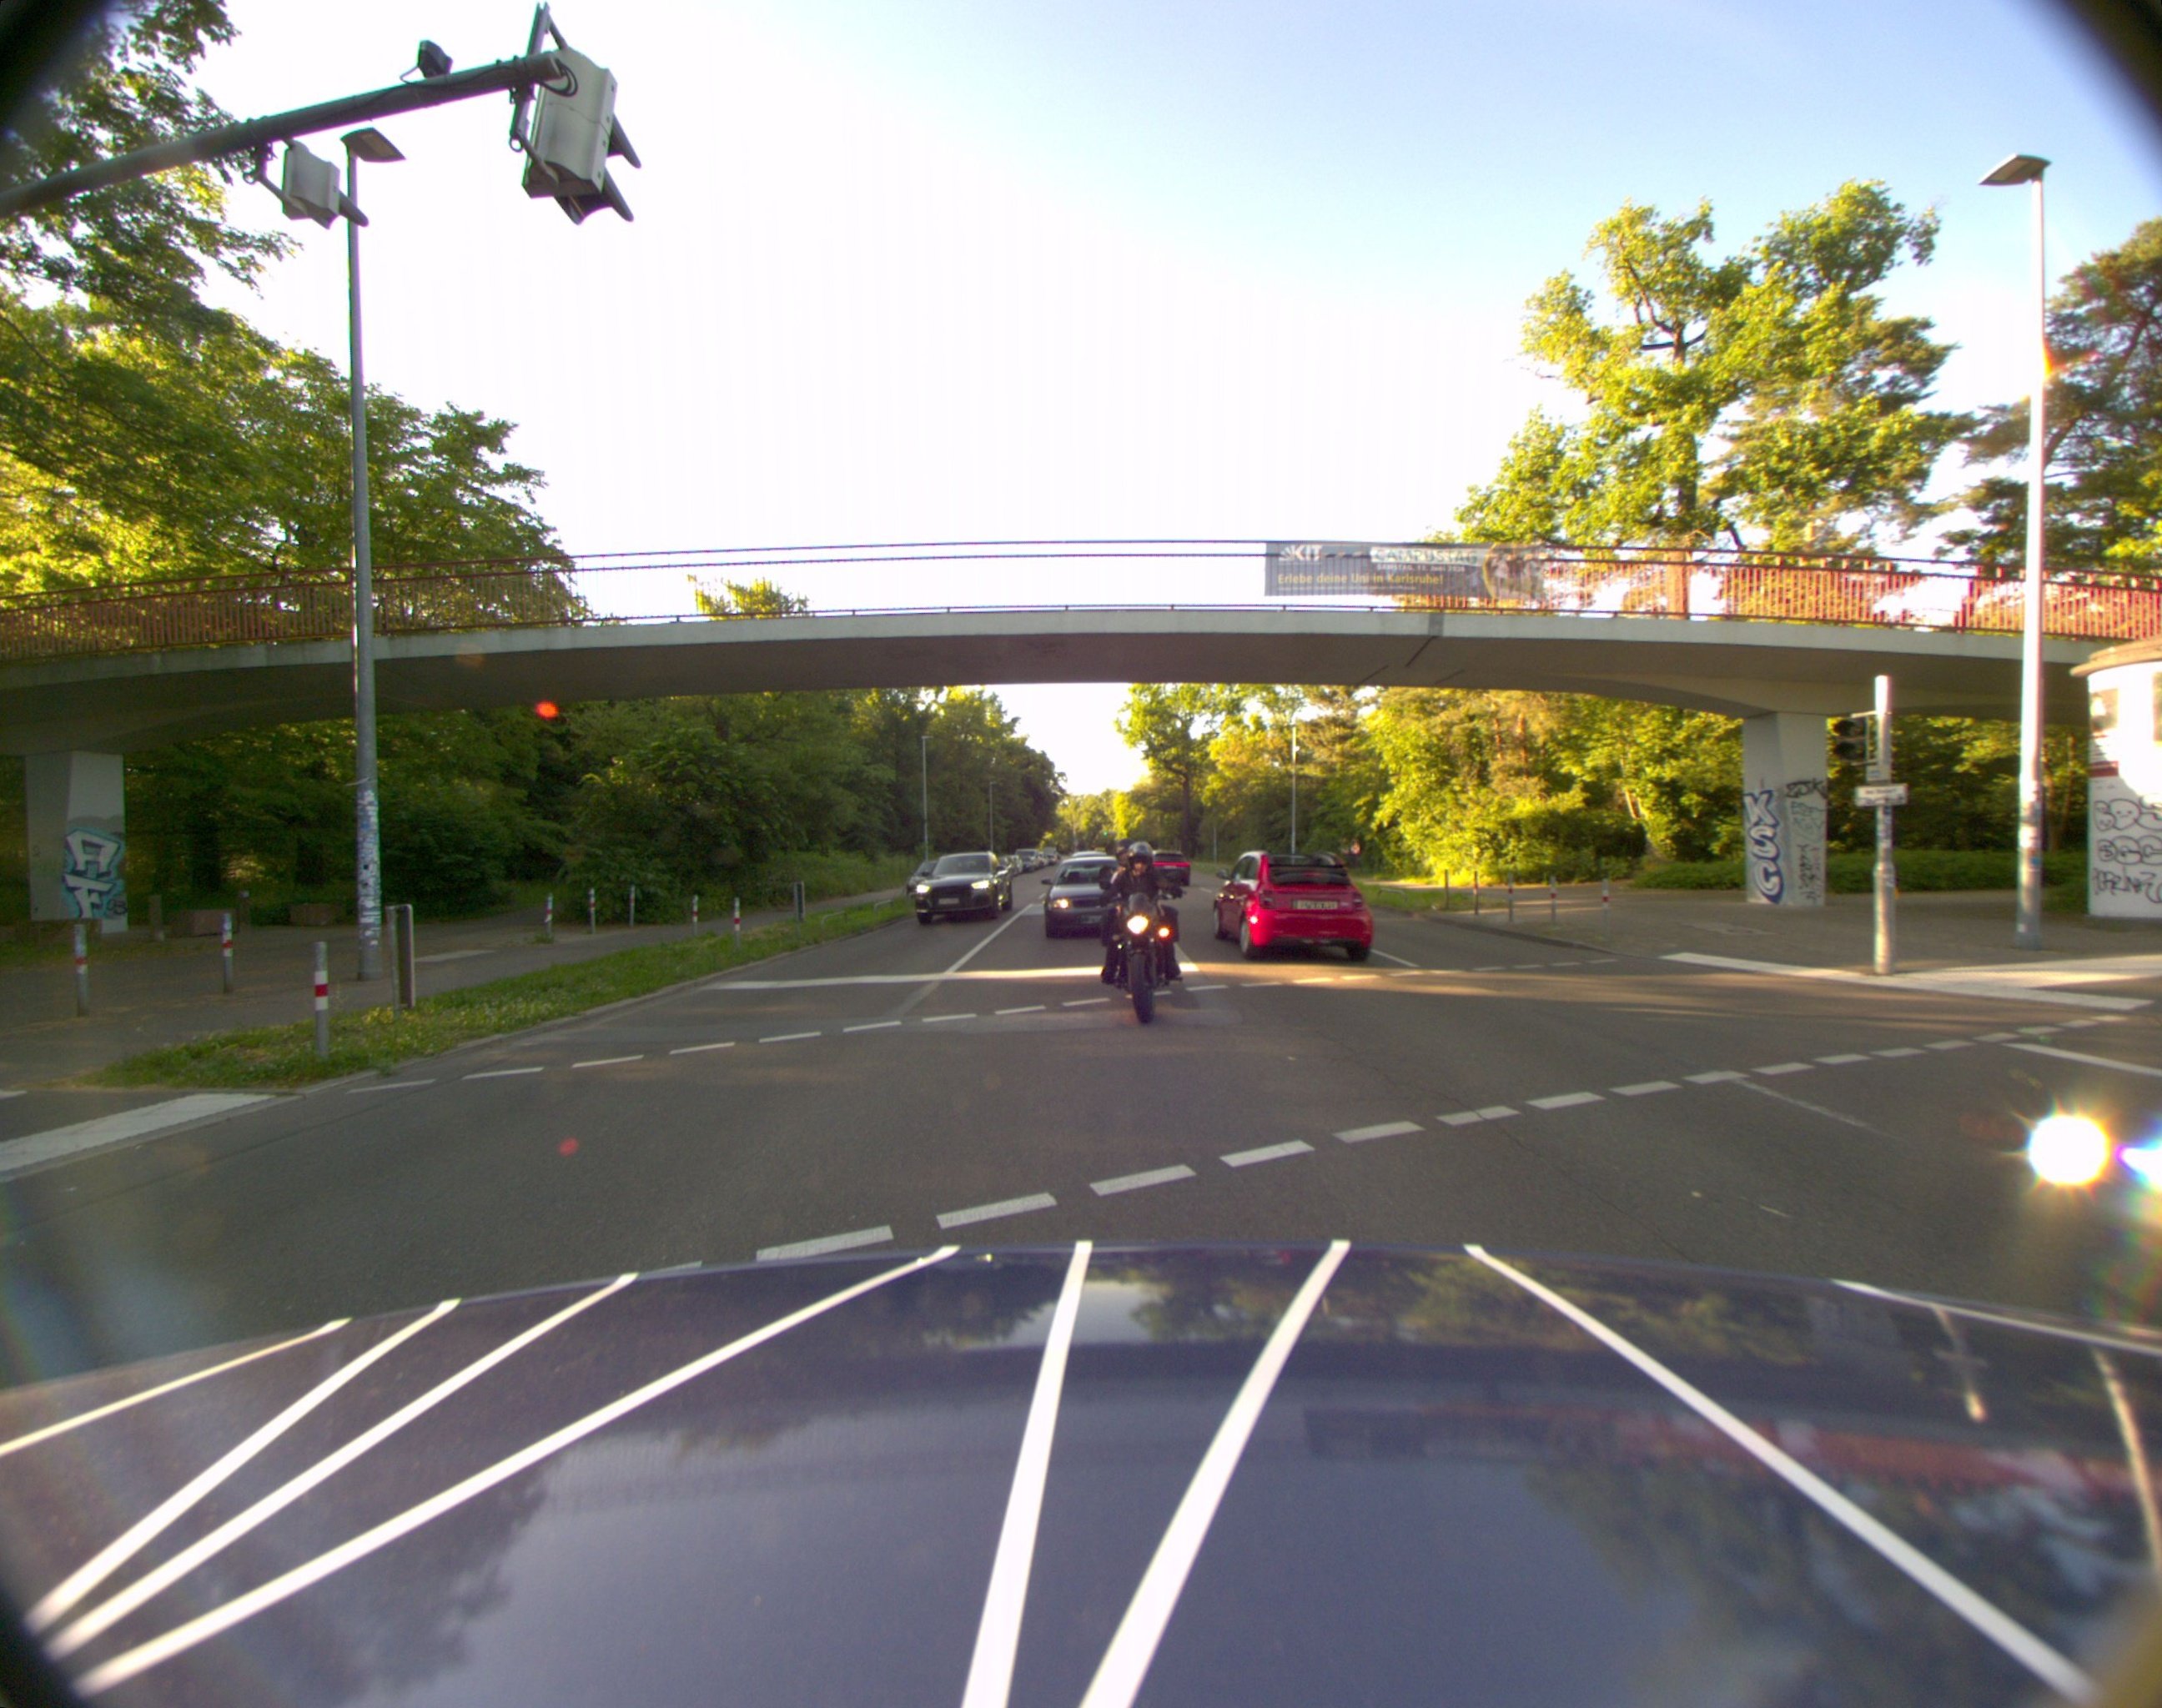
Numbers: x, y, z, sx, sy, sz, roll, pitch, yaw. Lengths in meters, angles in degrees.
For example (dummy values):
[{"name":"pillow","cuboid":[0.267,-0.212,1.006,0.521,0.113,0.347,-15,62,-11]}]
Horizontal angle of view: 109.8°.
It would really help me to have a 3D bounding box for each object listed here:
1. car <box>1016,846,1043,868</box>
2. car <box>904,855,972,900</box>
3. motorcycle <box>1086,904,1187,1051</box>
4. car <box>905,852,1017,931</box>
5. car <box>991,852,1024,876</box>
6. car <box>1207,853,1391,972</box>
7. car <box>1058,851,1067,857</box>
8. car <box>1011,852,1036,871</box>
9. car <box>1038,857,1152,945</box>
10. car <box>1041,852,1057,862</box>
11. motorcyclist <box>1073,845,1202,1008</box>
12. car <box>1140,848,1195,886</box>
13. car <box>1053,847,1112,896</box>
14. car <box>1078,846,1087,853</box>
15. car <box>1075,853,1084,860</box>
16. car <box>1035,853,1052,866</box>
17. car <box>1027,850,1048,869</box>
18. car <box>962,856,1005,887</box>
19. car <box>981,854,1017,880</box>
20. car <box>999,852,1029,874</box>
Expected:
[{"name":"car","cuboid":[-4.599,0.241,69.002,2.017,1.964,5.041,0,1,1]},{"name":"car","cuboid":[-5.292,0.828,28.615,1.694,1.499,4.125,-1,1,1]},{"name":"motorcycle","cuboid":[0.618,1.095,7.548,0.807,0.908,2.713,-1,2,7]},{"name":"car","cuboid":[-2.890,0.842,19.336,1.993,1.598,4.362,-4,1,1]},{"name":"car","cuboid":[-4.951,0.661,51.671,1.737,1.499,4.225,0,1,1]},{"name":"car","cuboid":[3.043,0.738,11.404,1.755,1.448,3.639,1,1,1]},{"name":"car","cuboid":[-4.158,-0.048,170.323,1.736,1.237,4.000,-1,1,1]},{"name":"car","cuboid":[-4.689,0.590,62.433,1.737,1.499,4.395,0,1,1]},{"name":"car","cuboid":[0.264,0.784,14.528,1.867,1.381,4.000,-1,1,1]},{"name":"car","cuboid":[-4.120,0.346,97.896,1.915,1.213,3.999,-1,1,0]},{"name":"motorcyclist","cuboid":[0.567,0.649,7.600,1.137,1.420,1.566,-1,2,4]},{"name":"car","cuboid":[3.755,0.501,33.613,1.966,1.497,4.646,0,1,1]},{"name":"car","cuboid":[0.050,0.575,29.459,1.998,1.625,5.885,-1,1,0]},{"name":"car","cuboid":[0.392,-1.031,168.332,1.894,1.491,4.395,0,1,0]},{"name":"car","cuboid":[-0.252,0.513,140.808,1.465,1.237,4.000,-1,1,1]},{"name":"car","cuboid":[-4.551,0.619,92.678,1.894,1.537,4.395,0,1,0]},{"name":"car","cuboid":[-4.614,0.606,81.453,1.951,1.964,4.395,0,1,1]},{"name":"car","cuboid":[-5.135,0.890,40.445,1.737,1.499,4.153,0,1,1]},{"name":"car","cuboid":[-4.913,0.749,46.053,1.704,1.499,4.136,0,1,1]},{"name":"car","cuboid":[-4.970,0.629,56.876,1.737,1.499,4.395,0,1,1]}]
